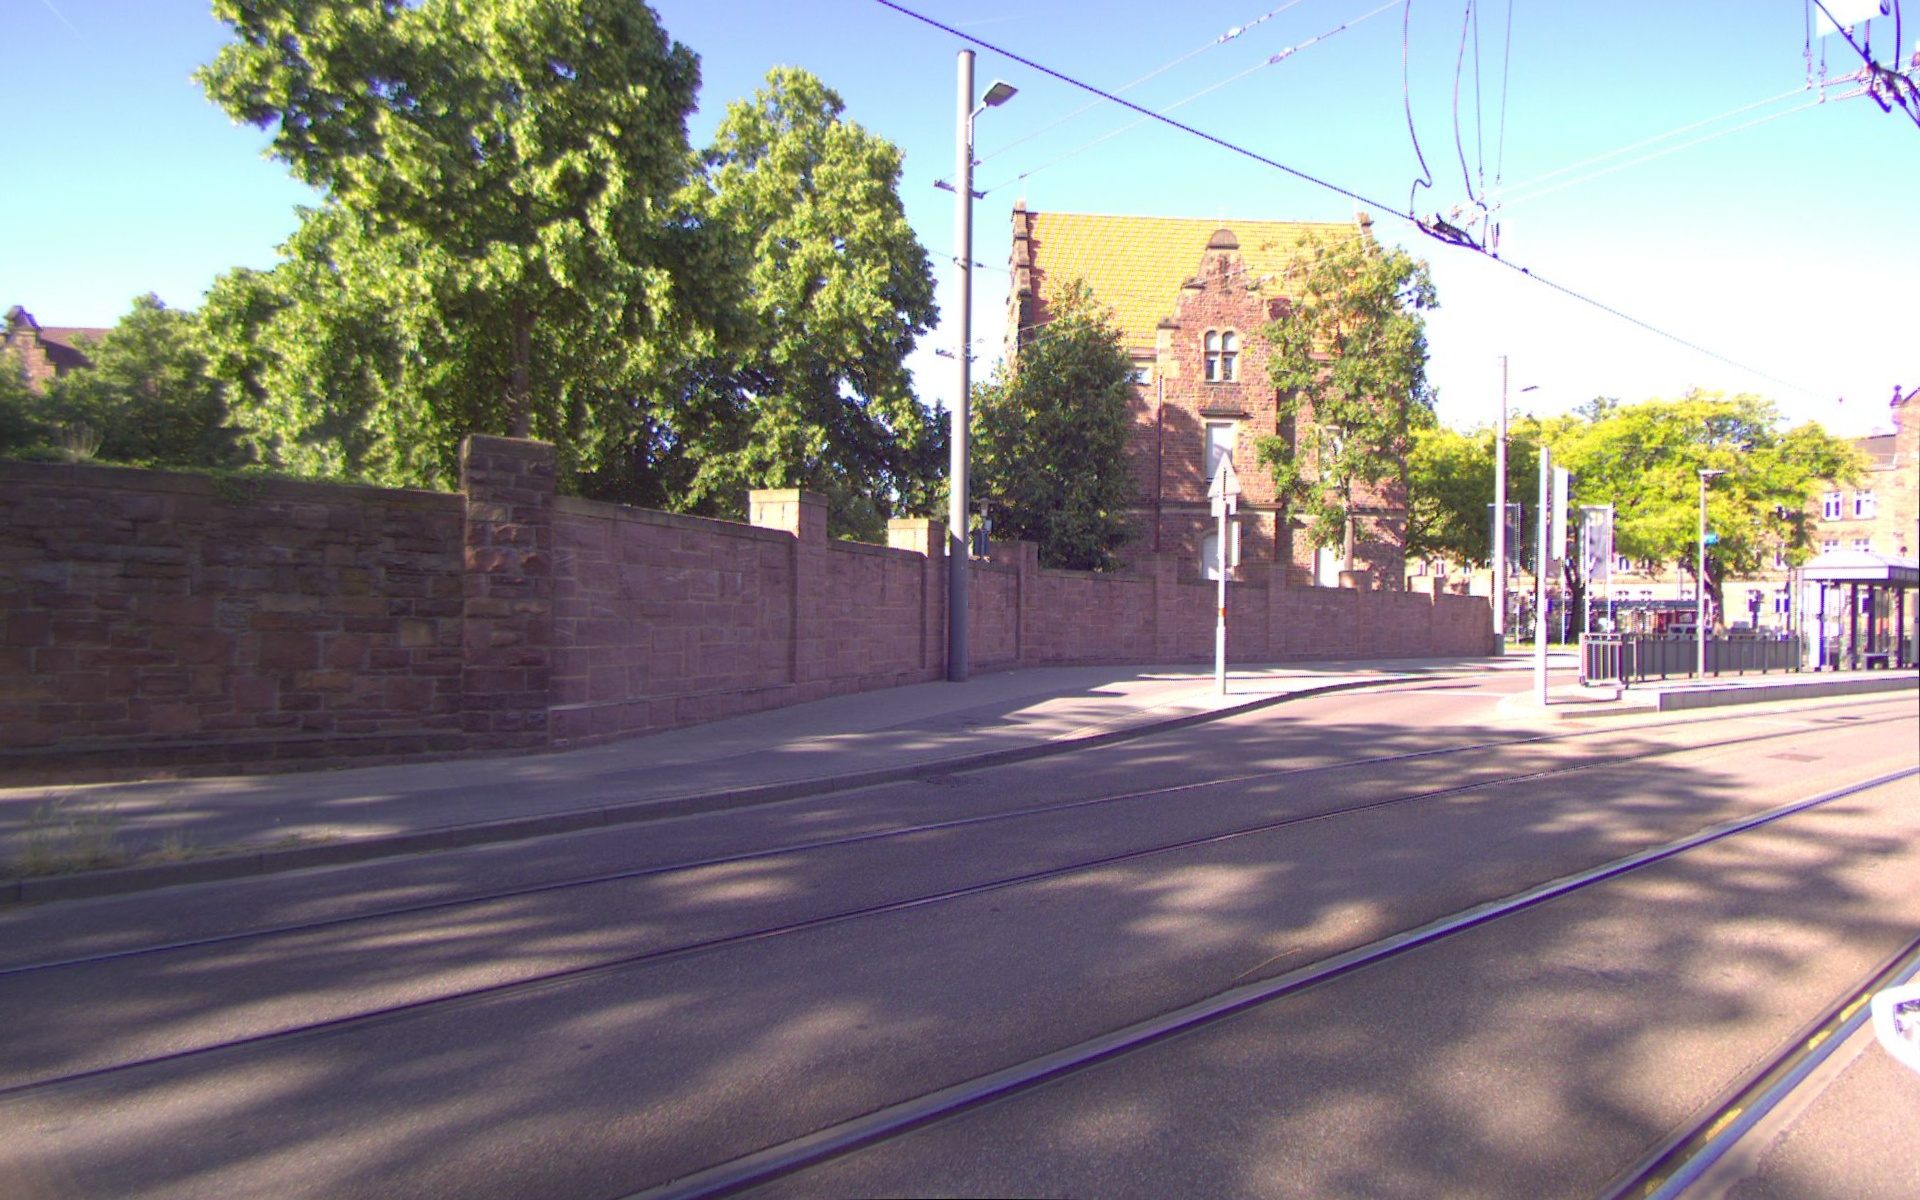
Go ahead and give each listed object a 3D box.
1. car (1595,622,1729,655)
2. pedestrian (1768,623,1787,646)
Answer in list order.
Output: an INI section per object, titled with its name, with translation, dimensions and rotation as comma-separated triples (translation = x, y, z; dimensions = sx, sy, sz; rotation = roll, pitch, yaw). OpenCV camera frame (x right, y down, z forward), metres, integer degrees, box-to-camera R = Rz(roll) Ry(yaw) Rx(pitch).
[car]
translation = 47.932, 2.596, 68.798
dimensions = 2.957, 1.946, 6.915
rotation = 1, -1, -30
[pedestrian]
translation = 60.302, 2.547, 74.121
dimensions = 0.797, 1.609, 0.924
rotation = 1, 0, -38
